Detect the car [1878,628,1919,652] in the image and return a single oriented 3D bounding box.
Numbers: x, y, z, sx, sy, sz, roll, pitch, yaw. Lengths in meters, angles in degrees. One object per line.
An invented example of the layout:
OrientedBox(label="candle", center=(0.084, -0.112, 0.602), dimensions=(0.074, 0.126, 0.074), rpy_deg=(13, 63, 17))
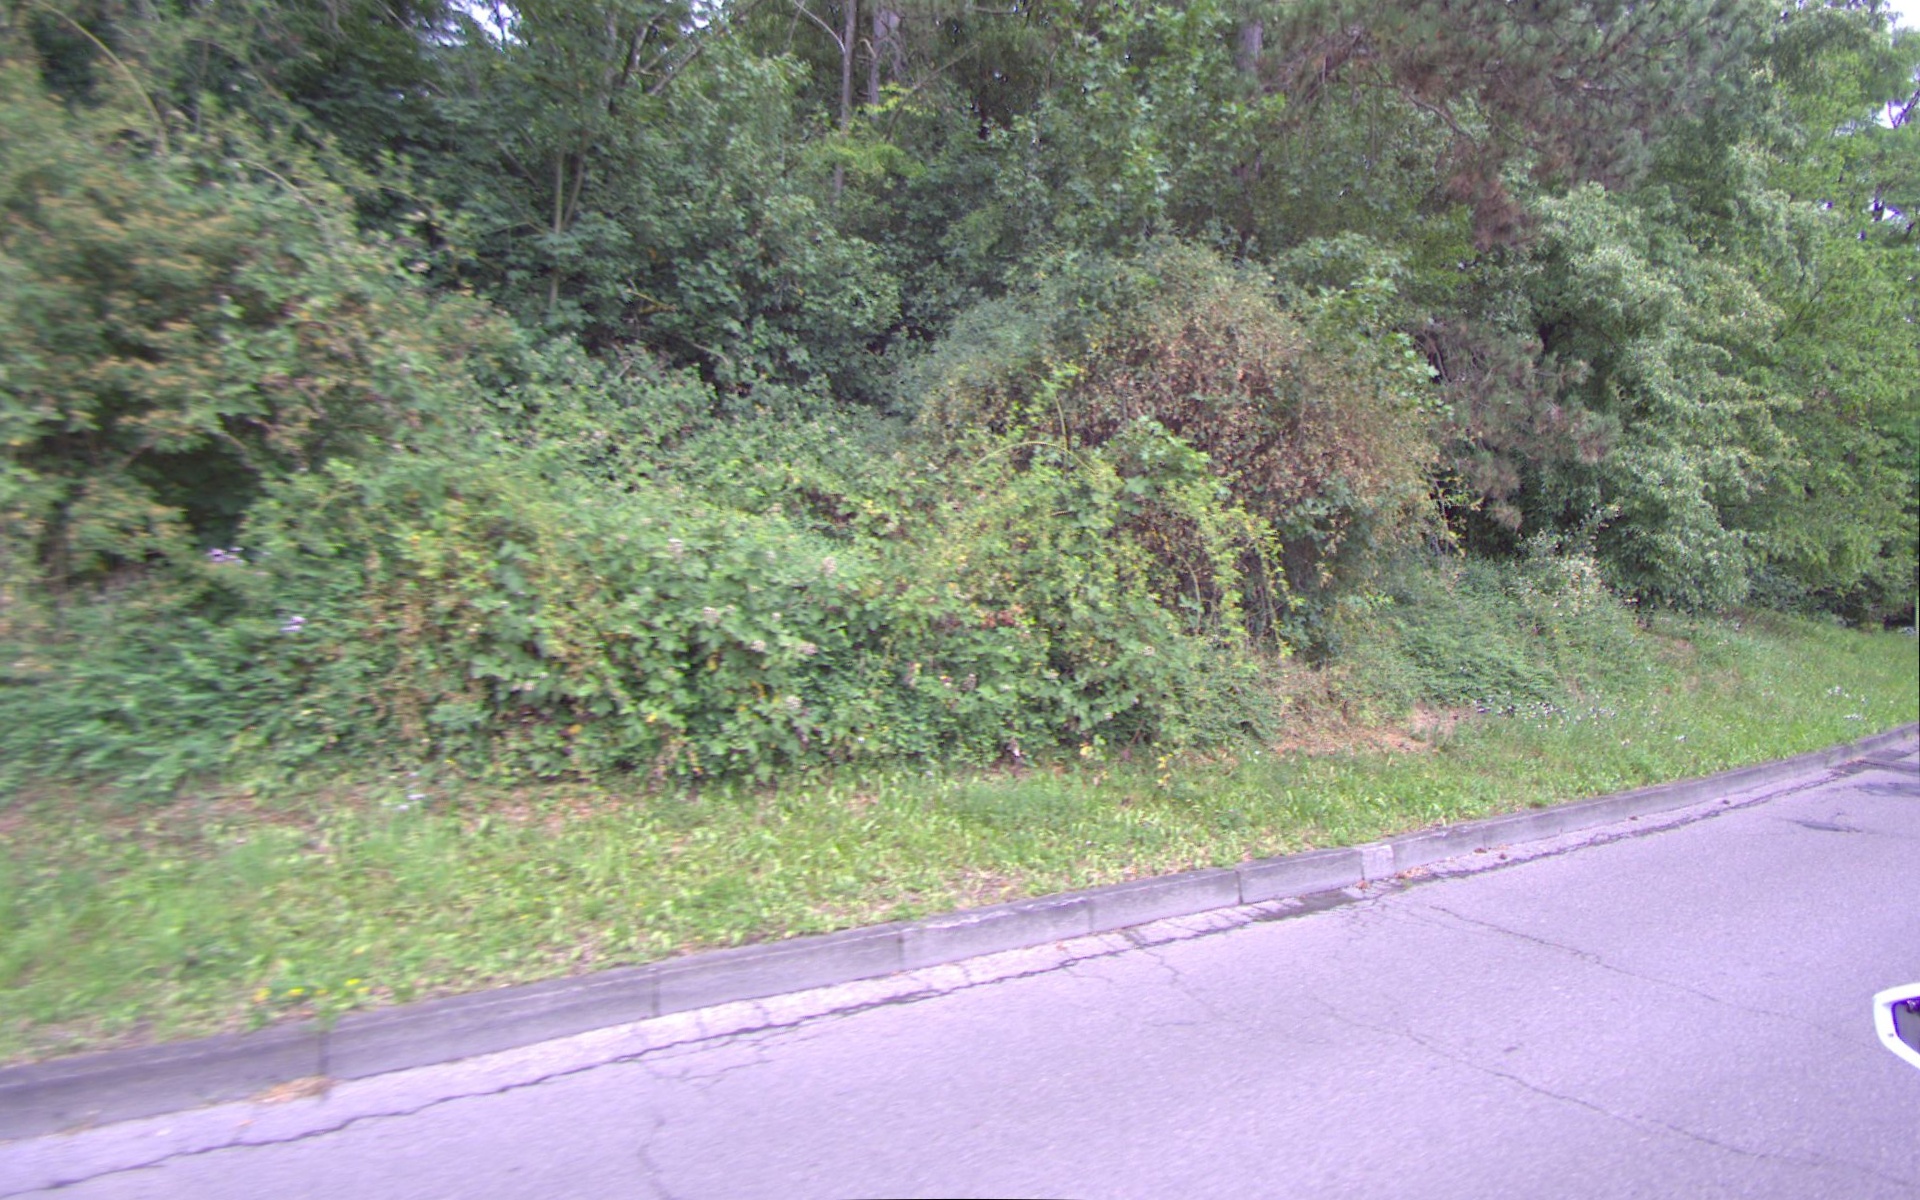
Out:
OrientedBox(label="car", center=(60.611, 2.551, 64.167), dimensions=(1.690, 1.450, 3.947), rpy_deg=(1, -2, 23))
